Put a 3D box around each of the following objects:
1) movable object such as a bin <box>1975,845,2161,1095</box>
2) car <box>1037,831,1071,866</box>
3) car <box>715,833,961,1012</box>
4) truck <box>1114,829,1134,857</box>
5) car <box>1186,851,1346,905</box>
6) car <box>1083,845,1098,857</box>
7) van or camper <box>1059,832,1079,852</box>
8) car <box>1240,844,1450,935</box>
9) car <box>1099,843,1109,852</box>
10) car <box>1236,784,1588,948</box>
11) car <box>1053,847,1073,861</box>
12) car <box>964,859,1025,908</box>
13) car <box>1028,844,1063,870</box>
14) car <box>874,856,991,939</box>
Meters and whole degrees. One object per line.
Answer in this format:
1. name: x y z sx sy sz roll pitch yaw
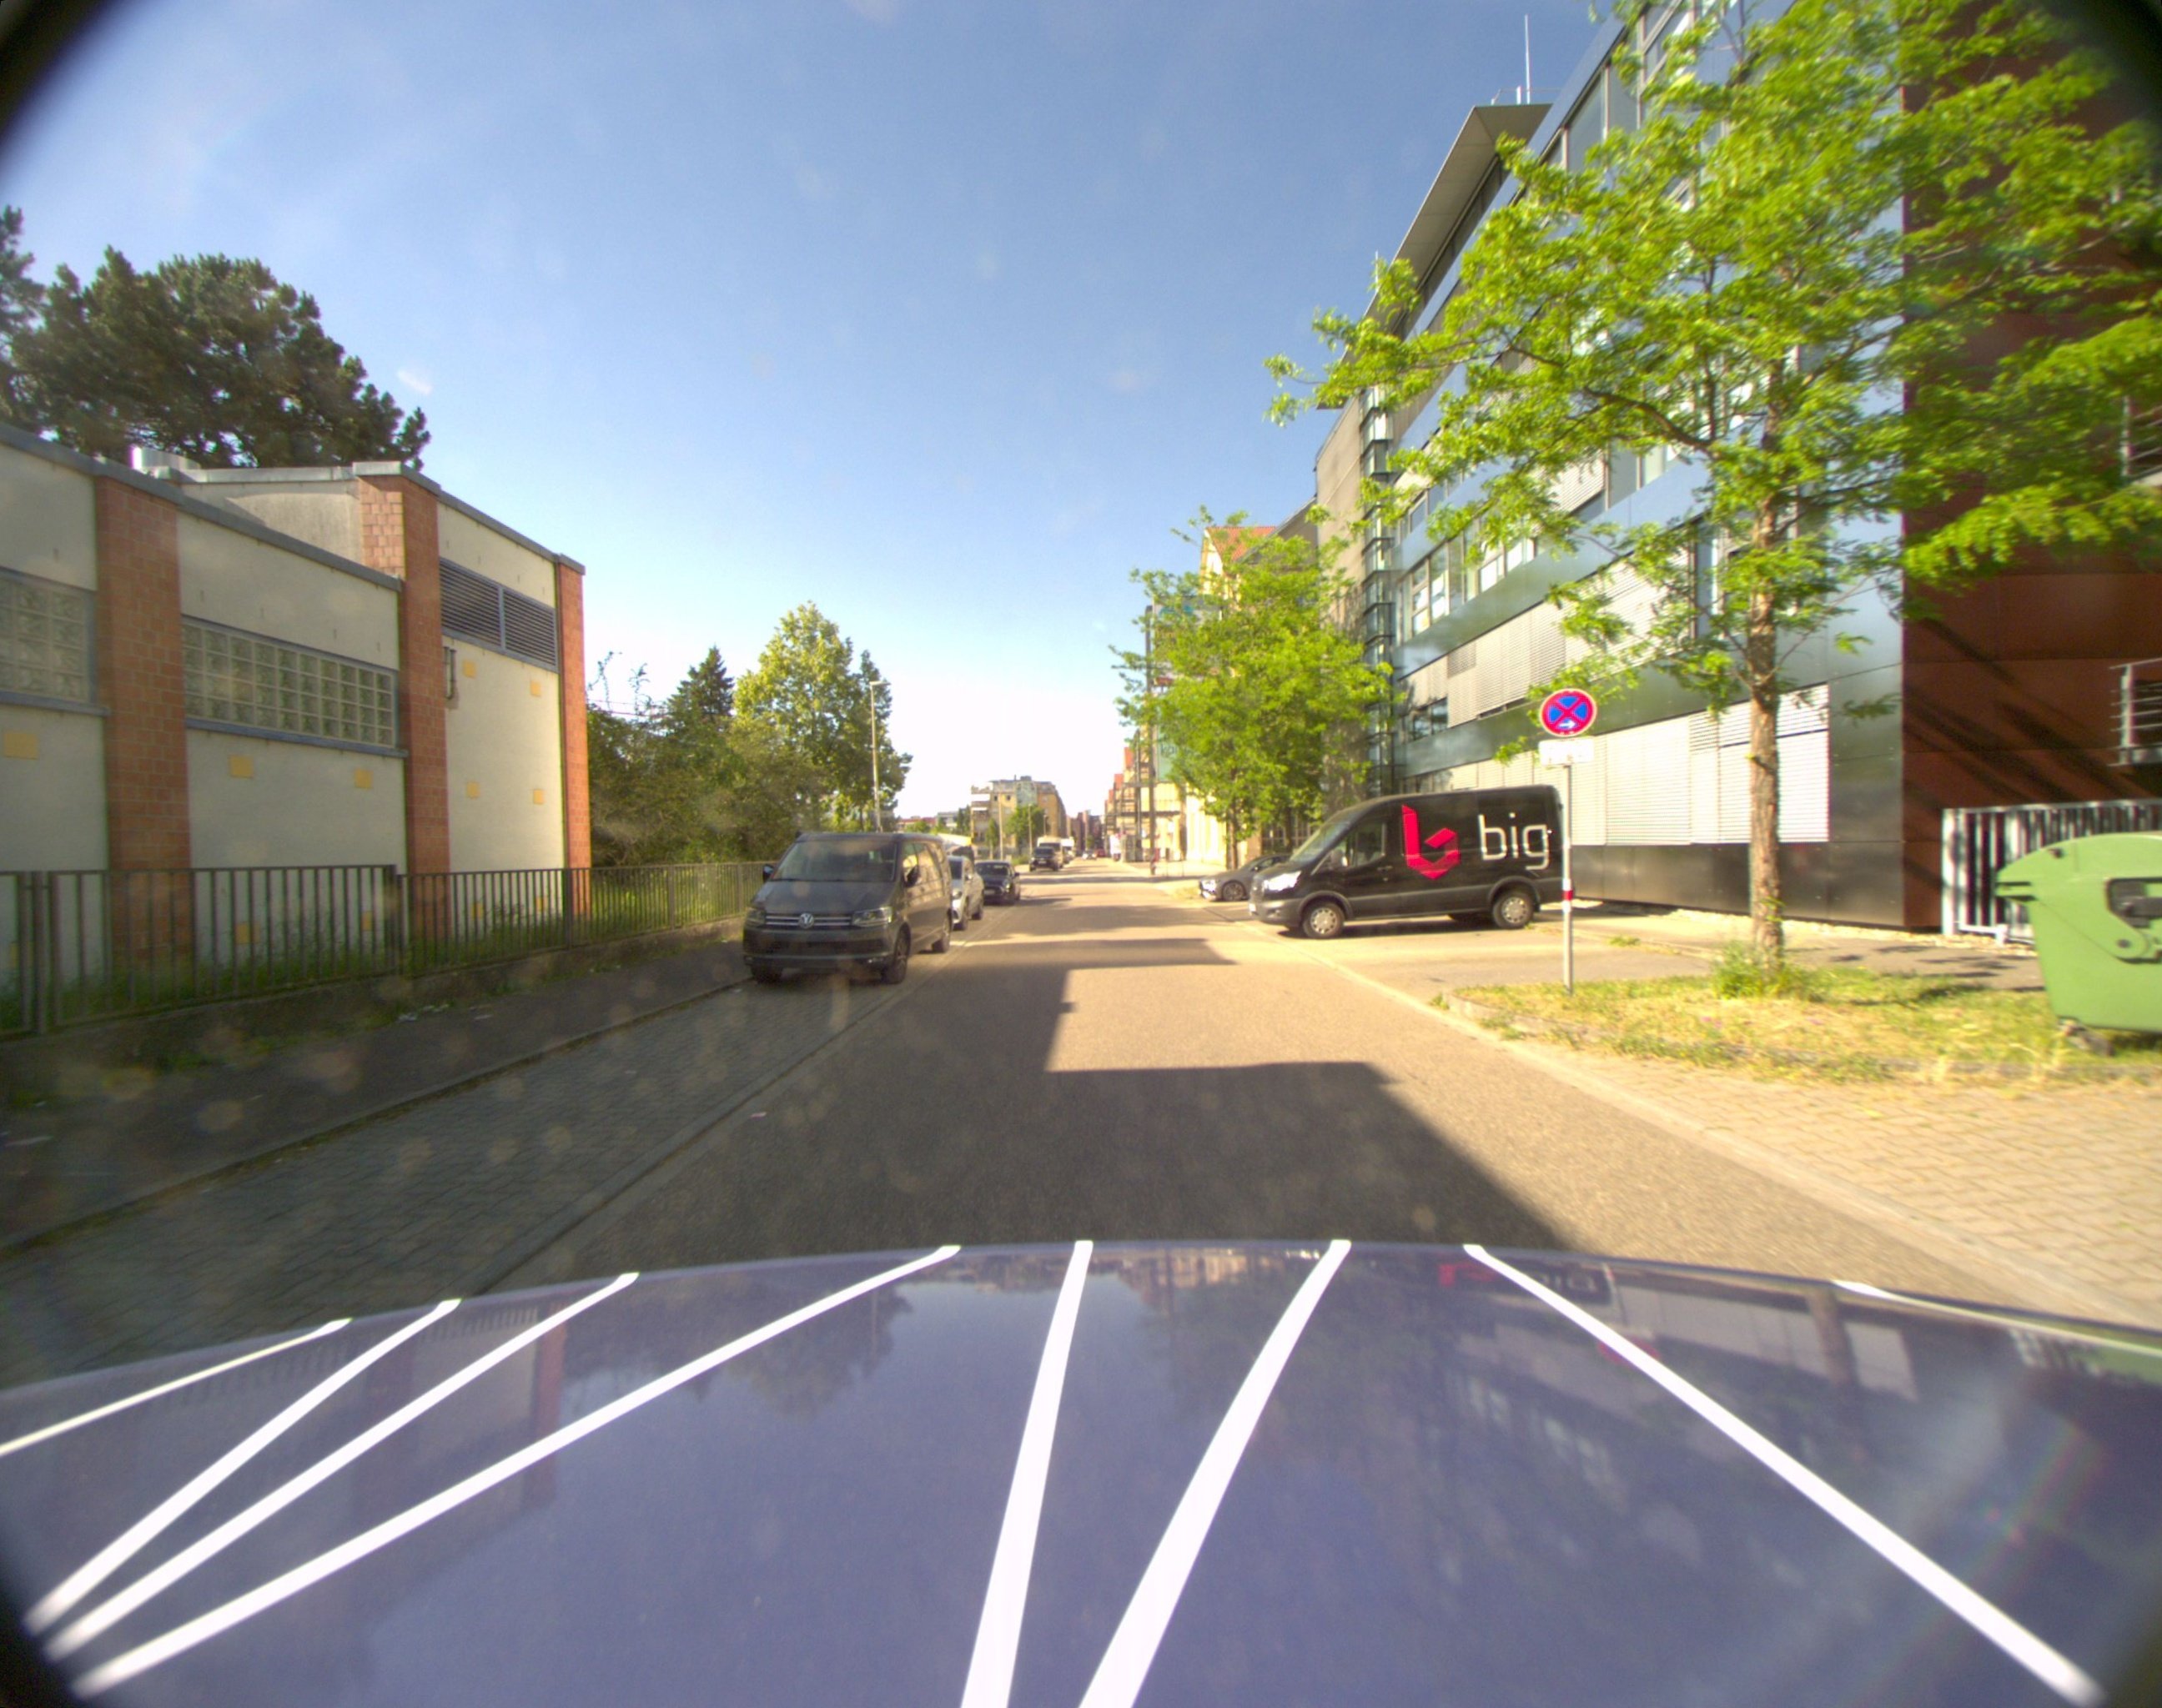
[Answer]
1. movable object such as a bin: 6.768 0.661 4.673 1.298 1.405 1.226 -2 1 -17
2. car: -2.129 -0.452 61.265 2.163 2.582 6.284 -2 1 3
3. car: -3.106 0.738 10.944 1.948 2.010 4.824 0 1 0
4. truck: 5.560 -1.466 99.337 2.498 3.412 7.127 -1 1 3
5. car: 5.736 0.716 23.948 4.546 1.343 1.892 -4 1 0
6. car: 1.303 -0.403 100.152 1.850 1.417 4.224 -1 1 1
7. van or camper: -1.719 -1.763 111.289 2.722 2.841 5.132 -1 1 0
8. car: 5.645 0.721 16.607 3.841 1.636 1.892 -4 1 -1
9. car: 4.072 -1.141 133.225 1.760 1.440 4.000 -1 1 3
10. car: 5.849 0.197 14.011 5.468 2.607 2.231 -2 1 0
11. car: -1.838 -0.013 79.618 1.850 1.417 4.225 -2 0 1
12. car: -2.875 0.934 25.934 1.656 1.464 3.763 0 1 0
13. car: -2.393 0.172 52.356 1.998 1.686 4.103 -1 1 2
14. car: -3.271 0.894 17.606 1.830 1.620 4.293 0 1 0
